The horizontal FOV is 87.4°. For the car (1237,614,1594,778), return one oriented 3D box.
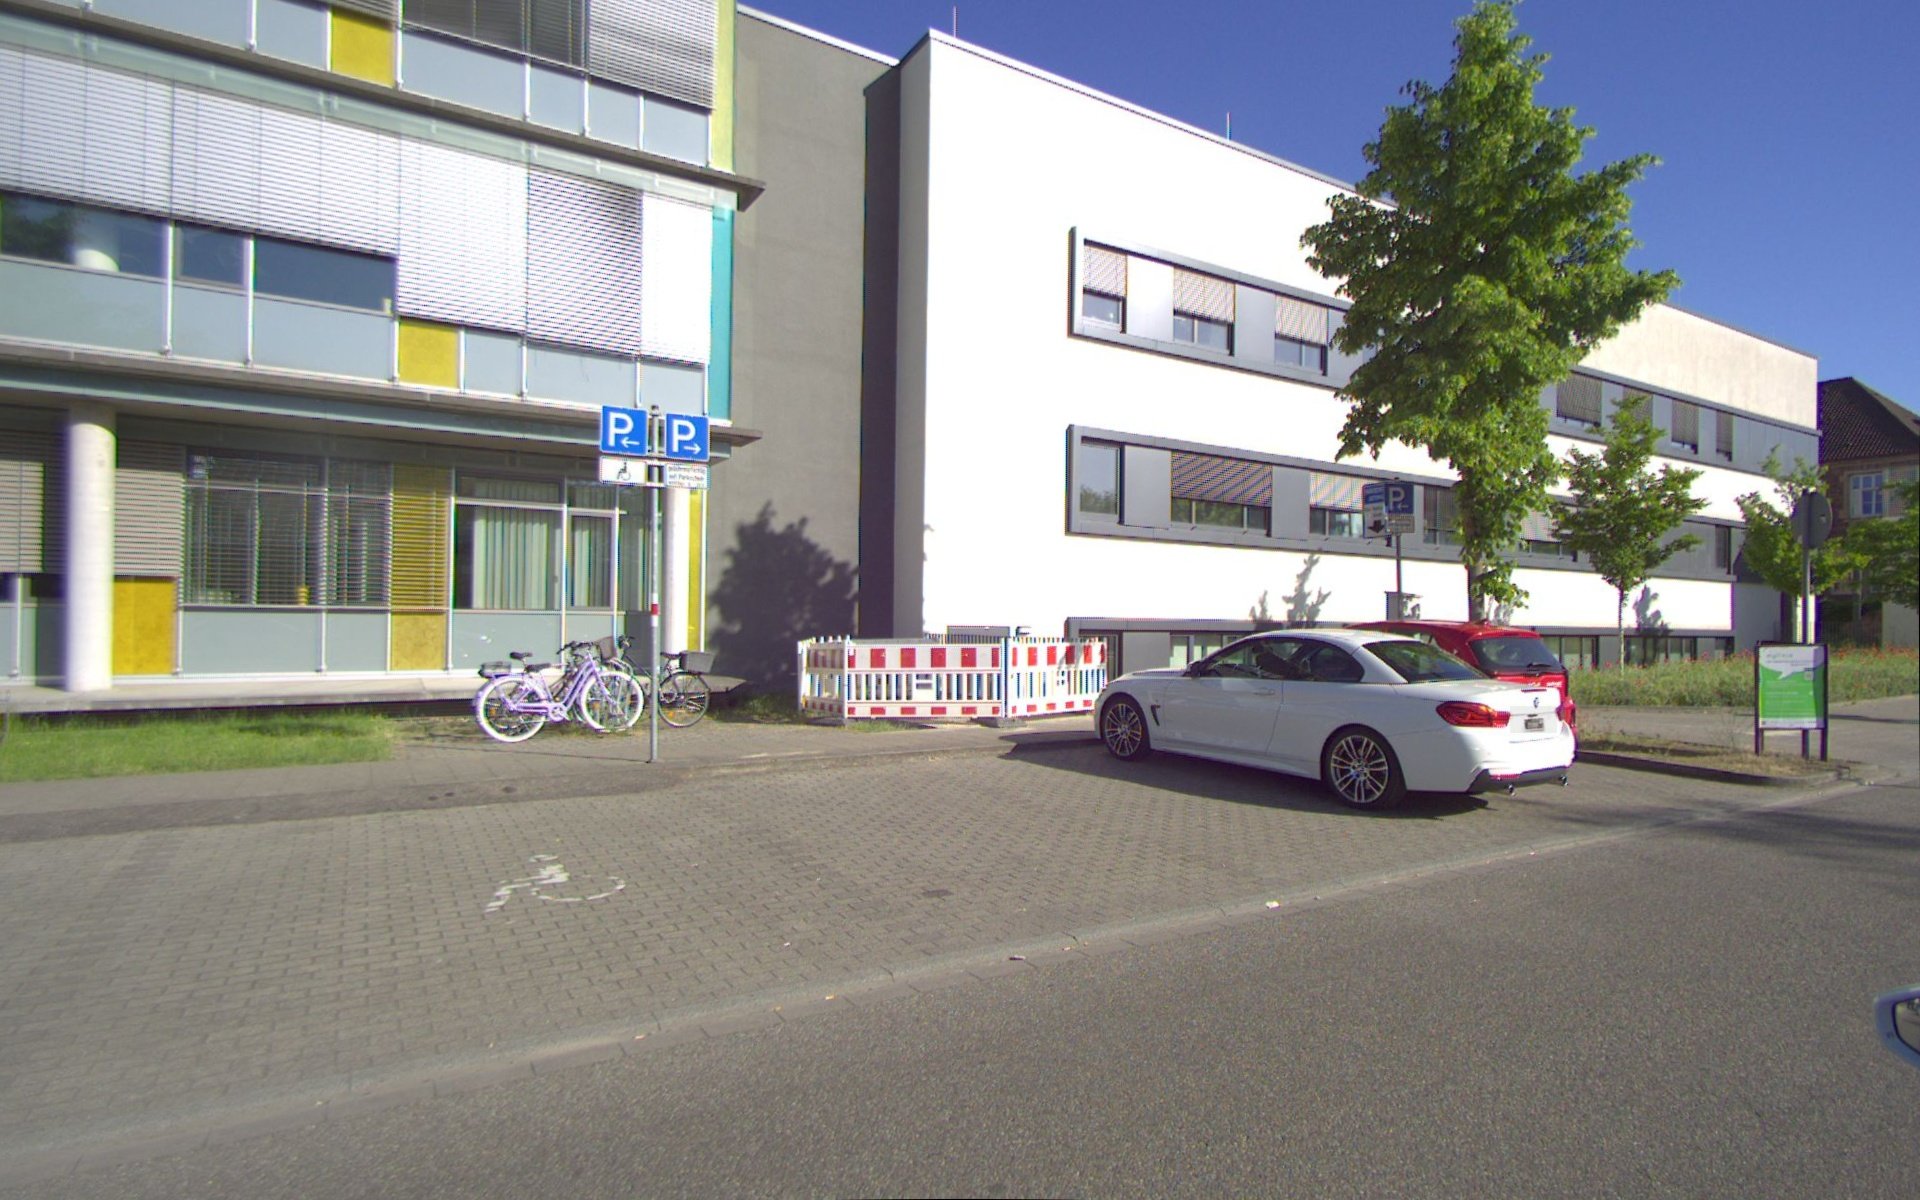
[{"bbox_3d":[5.046,0.953,11.648,1.592,1.489,3.624,1,0,-24],"label":"car"}]

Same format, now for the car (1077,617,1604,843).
[{"bbox_3d":[3.202,0.964,9.431,1.682,1.386,4.484,1,1,-33],"label":"car"}]

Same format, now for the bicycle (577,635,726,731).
[{"bbox_3d":[-3.876,1.019,12.682,1.743,1.138,0.418,1,-1,-31],"label":"bicycle"}]

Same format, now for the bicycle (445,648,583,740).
[{"bbox_3d":[-5.185,1.074,11.719,1.434,1.002,0.393,1,-1,-31],"label":"bicycle"}]

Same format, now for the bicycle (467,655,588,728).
[{"bbox_3d":[-5.640,1.178,13.140,1.434,0.884,0.253,1,-1,-31],"label":"bicycle"}]

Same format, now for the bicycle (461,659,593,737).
[{"bbox_3d":[-5.250,1.167,12.207,1.434,0.874,0.367,1,-1,-31],"label":"bicycle"}]

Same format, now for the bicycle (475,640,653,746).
[{"bbox_3d":[-4.512,1.024,11.494,1.839,1.126,0.532,1,-1,-31],"label":"bicycle"}]
